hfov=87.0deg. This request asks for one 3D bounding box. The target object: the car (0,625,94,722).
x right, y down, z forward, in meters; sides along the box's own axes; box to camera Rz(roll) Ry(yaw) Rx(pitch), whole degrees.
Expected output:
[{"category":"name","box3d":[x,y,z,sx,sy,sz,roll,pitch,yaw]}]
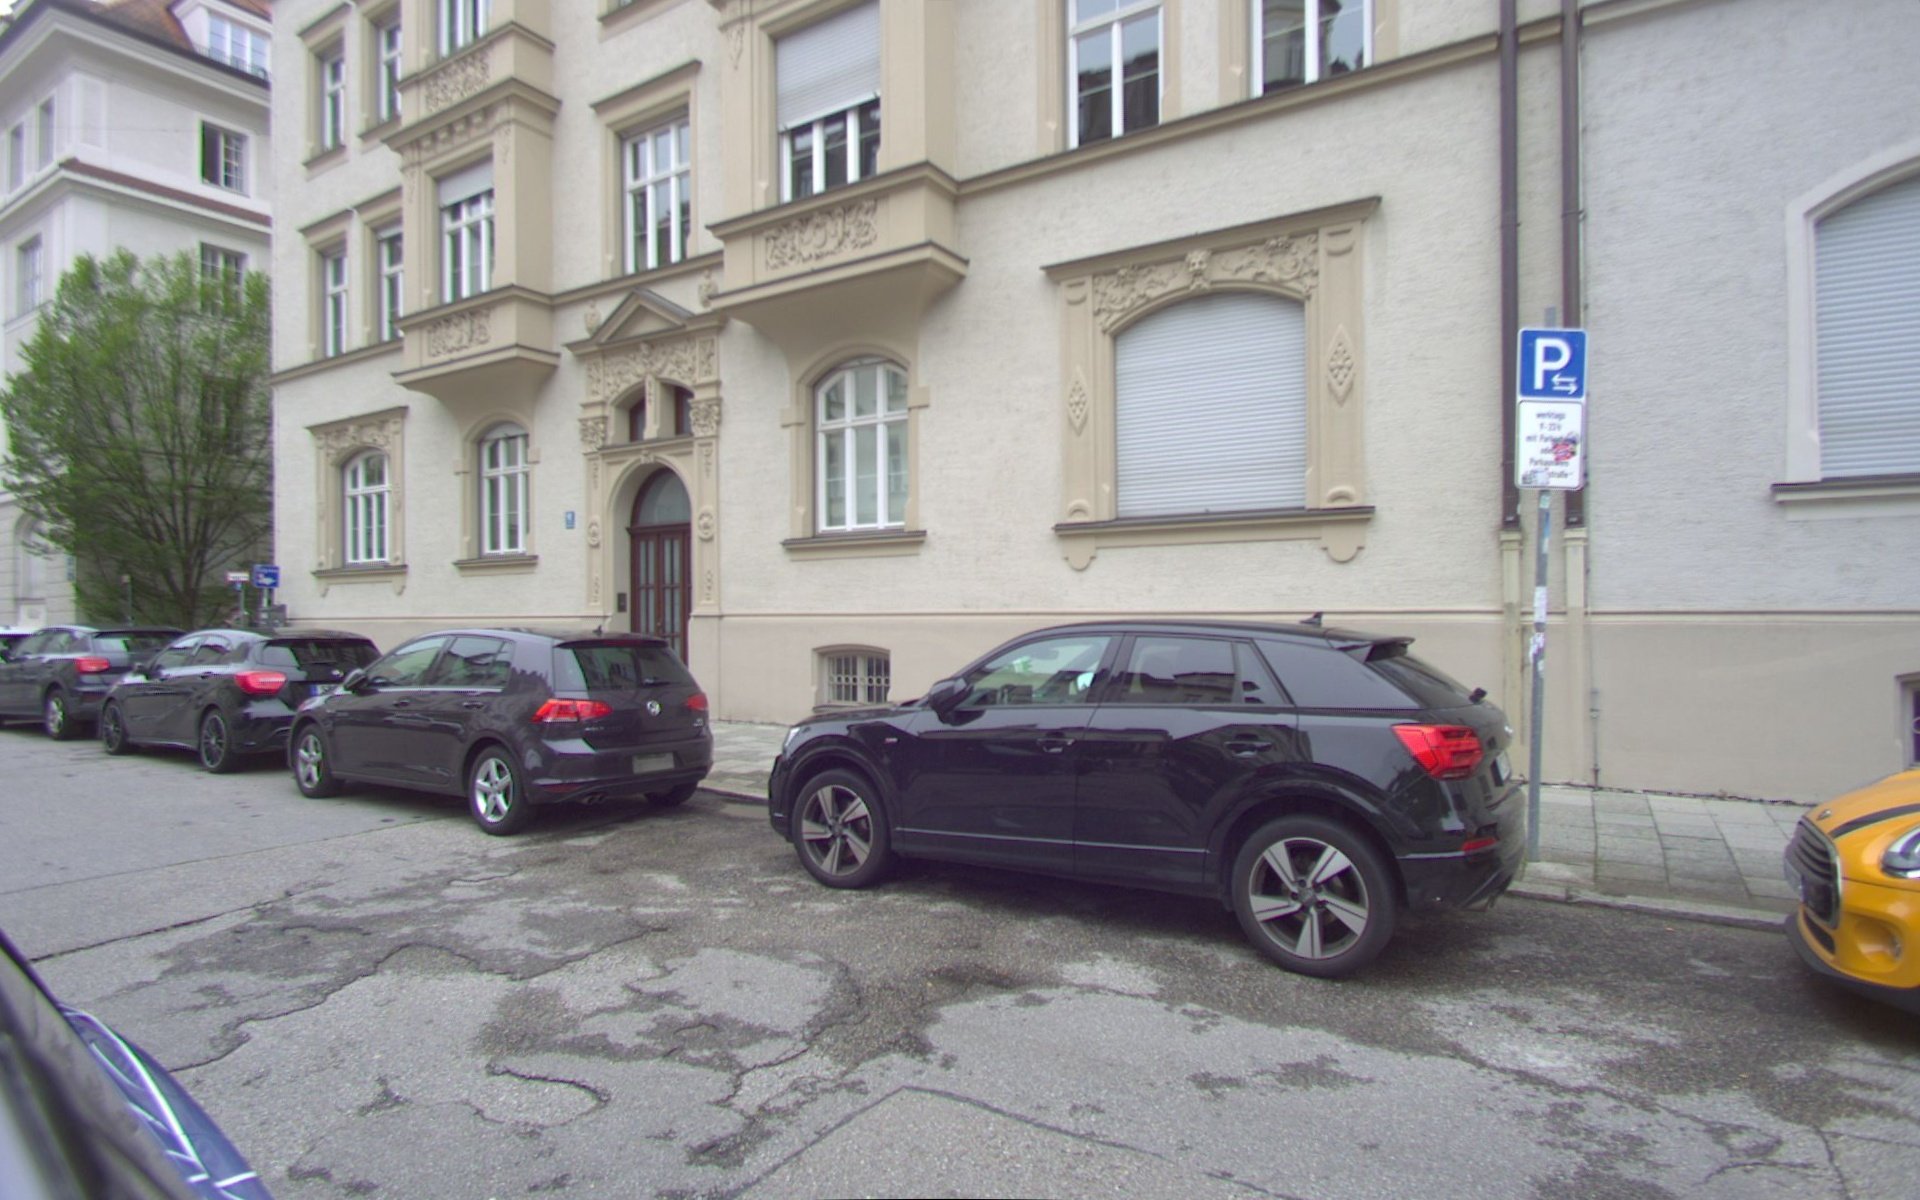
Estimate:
[{"category":"car","box3d":[-16.042,1.150,16.386,4.229,1.445,1.823,-1,-3,31]}]

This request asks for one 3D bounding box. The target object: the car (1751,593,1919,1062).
[{"category":"car","box3d":[4.985,0.737,3.019,3.960,1.511,1.627,-2,-4,34]}]

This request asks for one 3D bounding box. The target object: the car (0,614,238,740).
[{"category":"car","box3d":[-12.214,1.028,14.190,4.368,1.530,1.757,-1,-4,31]}]

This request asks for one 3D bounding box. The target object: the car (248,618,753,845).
[{"category":"car","box3d":[-3.907,0.932,8.411,4.232,1.447,1.822,-1,-4,33]}]

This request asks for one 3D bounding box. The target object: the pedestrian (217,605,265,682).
[{"category":"pedestrian","box3d":[-15.718,0.943,22.132,0.628,1.638,0.668,-1,-1,30]}]

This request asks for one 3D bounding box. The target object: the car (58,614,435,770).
[{"category":"car","box3d":[-8.118,0.936,11.418,4.537,1.445,1.820,-1,-3,31]}]

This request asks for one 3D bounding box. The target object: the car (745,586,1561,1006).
[{"category":"car","box3d":[0.903,0.769,5.504,4.006,1.511,1.739,-1,-3,33]}]
